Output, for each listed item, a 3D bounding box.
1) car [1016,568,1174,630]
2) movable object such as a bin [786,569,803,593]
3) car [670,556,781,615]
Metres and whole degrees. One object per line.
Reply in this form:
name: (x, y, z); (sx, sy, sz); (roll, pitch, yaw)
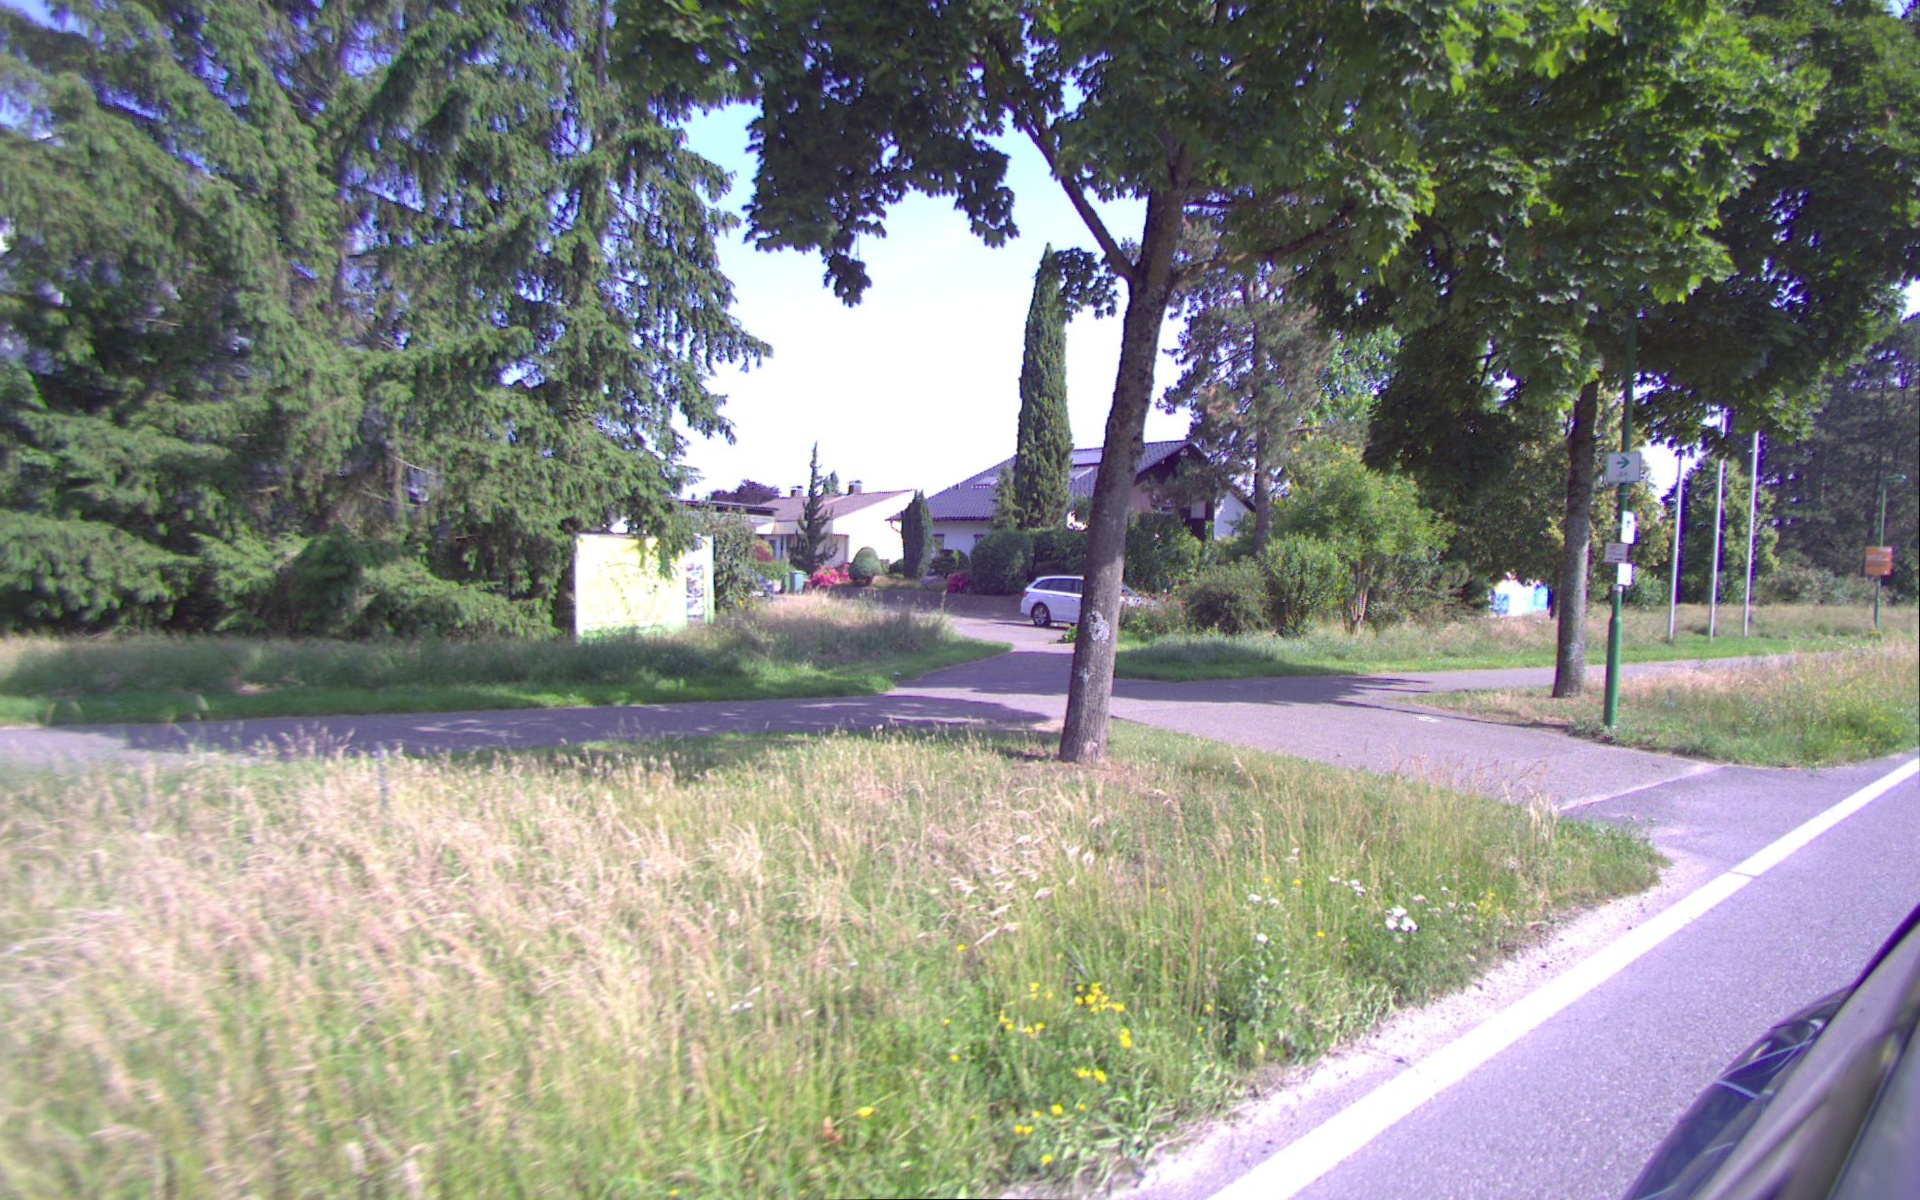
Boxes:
car: (3.598, -0.069, 27.441); (1.785, 1.451, 3.991); (0, 3, -44)
movable object such as a bin: (-7.174, -0.823, 43.925); (0.637, 1.028, 0.383); (0, 2, -39)
car: (-7.341, -0.494, 31.428); (1.807, 1.683, 3.936); (0, 2, -39)
